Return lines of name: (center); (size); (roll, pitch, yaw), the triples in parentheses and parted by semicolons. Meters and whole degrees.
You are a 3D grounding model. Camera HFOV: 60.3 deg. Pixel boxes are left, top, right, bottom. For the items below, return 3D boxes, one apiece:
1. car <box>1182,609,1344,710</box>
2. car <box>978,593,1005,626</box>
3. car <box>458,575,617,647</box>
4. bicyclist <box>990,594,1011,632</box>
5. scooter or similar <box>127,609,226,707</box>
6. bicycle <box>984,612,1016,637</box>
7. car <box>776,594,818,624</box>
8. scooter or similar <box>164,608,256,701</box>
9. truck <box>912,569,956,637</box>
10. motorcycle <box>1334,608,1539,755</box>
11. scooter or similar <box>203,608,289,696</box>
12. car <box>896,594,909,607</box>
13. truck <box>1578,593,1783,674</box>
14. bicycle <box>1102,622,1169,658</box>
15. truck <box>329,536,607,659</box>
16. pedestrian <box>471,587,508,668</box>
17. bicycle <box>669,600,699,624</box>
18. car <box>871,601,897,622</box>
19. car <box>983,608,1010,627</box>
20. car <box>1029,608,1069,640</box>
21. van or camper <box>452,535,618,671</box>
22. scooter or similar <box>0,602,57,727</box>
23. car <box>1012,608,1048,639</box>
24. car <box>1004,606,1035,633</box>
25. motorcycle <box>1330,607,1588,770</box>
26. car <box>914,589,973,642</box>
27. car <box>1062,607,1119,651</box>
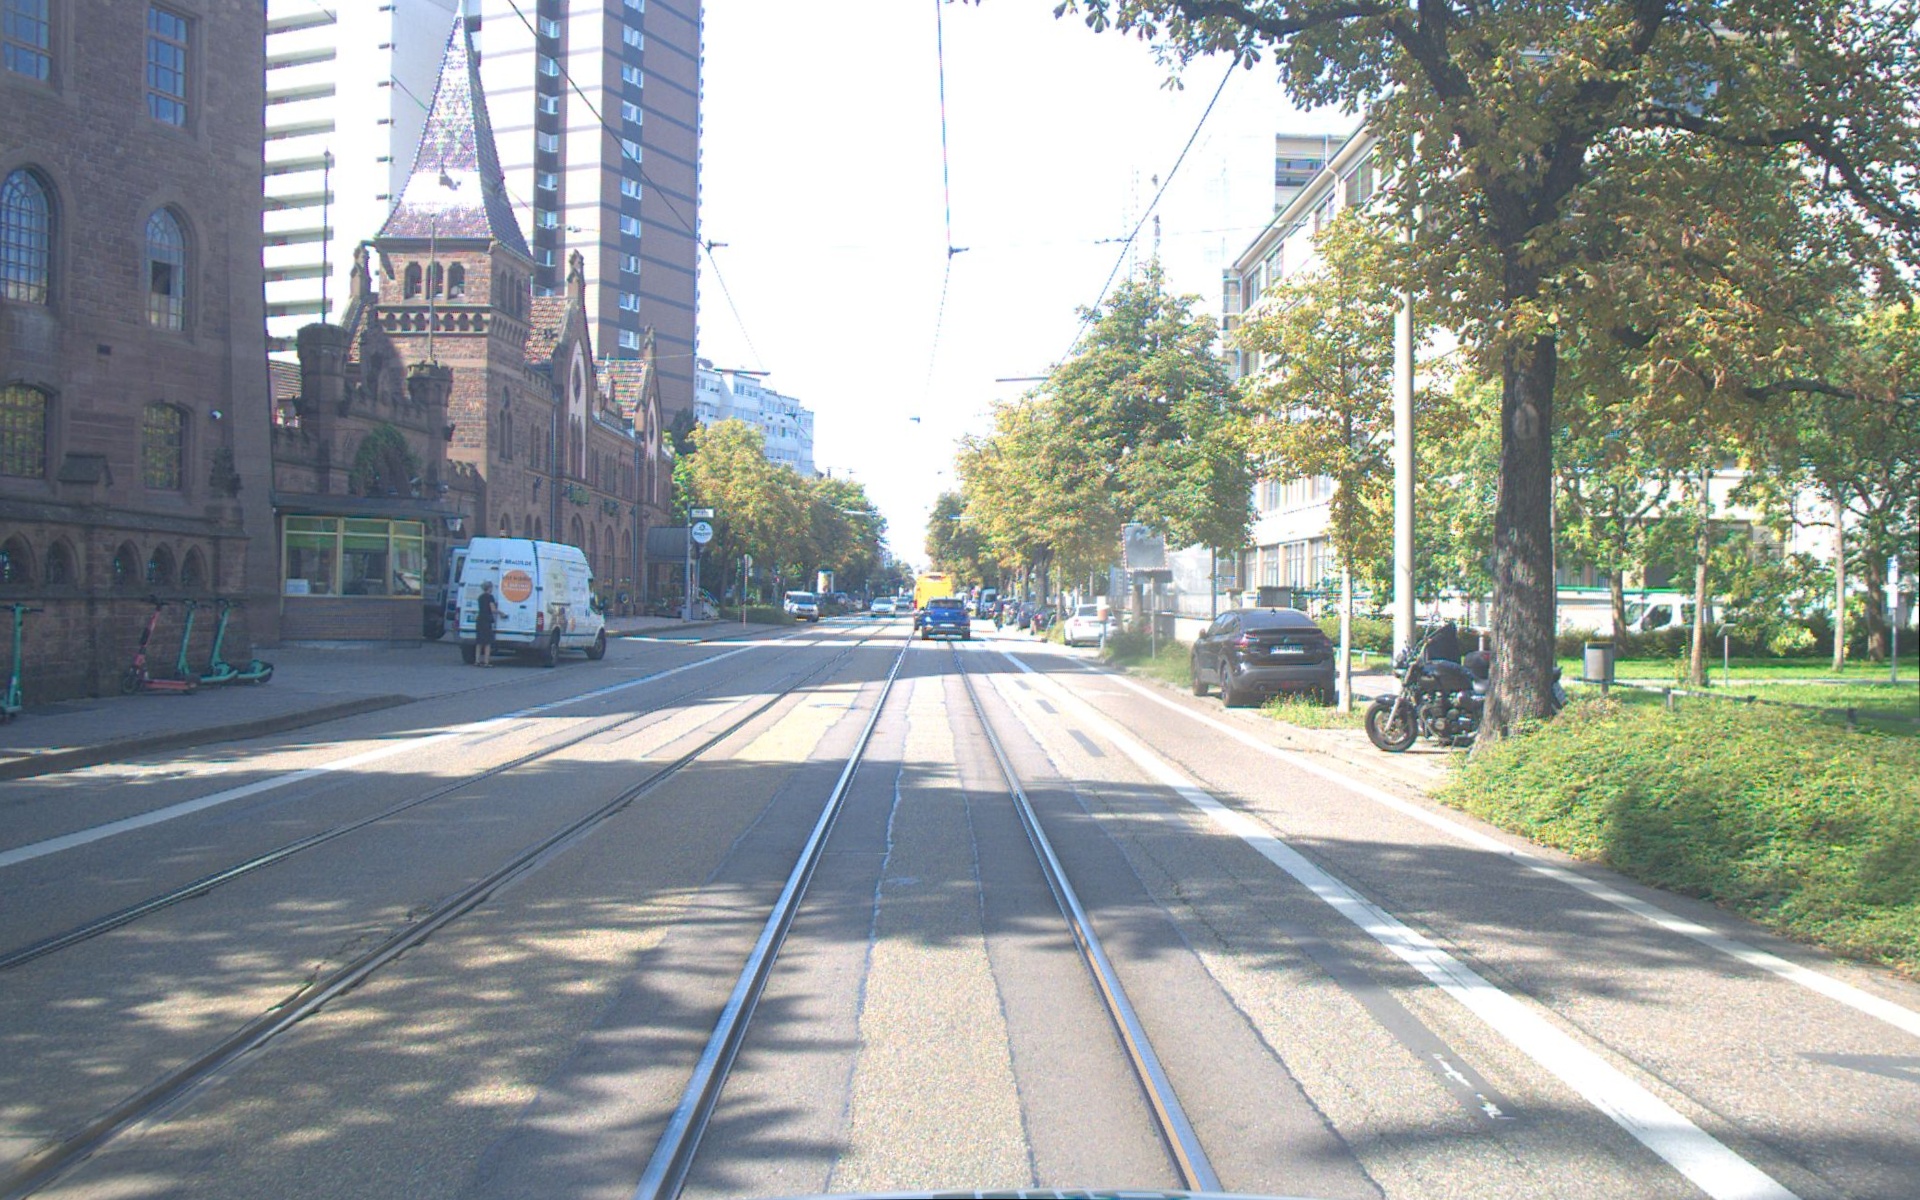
car: (4.989, 0.932, 27.846); (1.720, 1.542, 4.607); (0, 0, -2)
car: (2.693, 0.811, 142.920); (1.953, 2.804, 5.758); (1, 0, -2)
car: (-12.369, 0.324, 48.582); (4.052, 1.774, 2.000); (4, 0, 0)
bicyclist: (2.013, 0.641, 82.301); (1.011, 1.844, 1.016); (1, 0, -1)
scooter or similar: (-9.905, 0.720, 20.942); (0.332, 1.199, 1.177); (1, 0, 24)
bicycle: (1.967, 1.205, 82.301); (1.373, 1.154, 3.999); (1, 0, -1)
car: (-10.390, 0.559, 105.233); (1.721, 1.828, 3.976); (1, 0, -21)
scooter or similar: (-10.013, 0.720, 22.112); (0.332, 1.199, 1.177); (1, 0, 24)
truck: (-1.270, 0.147, 81.247); (2.092, 3.179, 6.083); (0, 0, -1)
motorcycle: (5.383, 0.881, 18.889); (0.839, 1.542, 2.435); (1, 0, -25)
scooter or similar: (-10.018, 0.723, 23.246); (0.332, 1.199, 1.177); (1, 0, 24)
car: (-8.173, 0.089, 236.225); (1.744, 1.713, 4.345); (1, 0, -2)
truck: (22.497, 1.026, 51.808); (5.394, 2.366, 2.298); (1, 0, 0)
bicycle: (4.868, 1.109, 45.965); (1.775, 0.975, 0.558); (1, 0, -2)
truck: (-12.311, -0.081, 41.608); (6.189, 2.582, 2.132); (4, 1, 4)
pedestrian: (-9.522, 0.552, 33.474); (0.486, 1.627, 0.553); (1, 0, 13)
bicycle: (-14.112, 0.628, 84.523); (1.423, 1.112, 0.399); (5, -1, -5)
car: (-5.867, 0.902, 127.705); (1.809, 1.518, 4.866); (2, 0, 0)
car: (2.876, 1.395, 132.326); (1.869, 1.457, 4.290); (1, 0, -2)
car: (4.123, 1.094, 77.091); (1.625, 1.432, 4.216); (0, 0, -1)
van or camper: (-9.307, 0.068, 36.826); (2.069, 2.722, 5.955); (1, 0, 0)
scooter or similar: (-9.502, 0.626, 16.650); (0.413, 1.199, 1.311); (1, 0, -16)
car: (3.736, 1.238, 88.632); (1.707, 1.583, 4.216); (0, 0, -1)
car: (3.629, 1.192, 101.729); (1.601, 1.612, 4.187); (1, 0, -2)
motorcycle: (5.152, 0.872, 17.184); (2.407, 1.542, 0.849); (1, 0, 38)
car: (-0.641, 0.574, 61.785); (2.092, 1.891, 5.567); (0, 0, -1)
car: (4.603, 1.020, 58.719); (1.625, 1.507, 4.216); (0, 0, -1)
